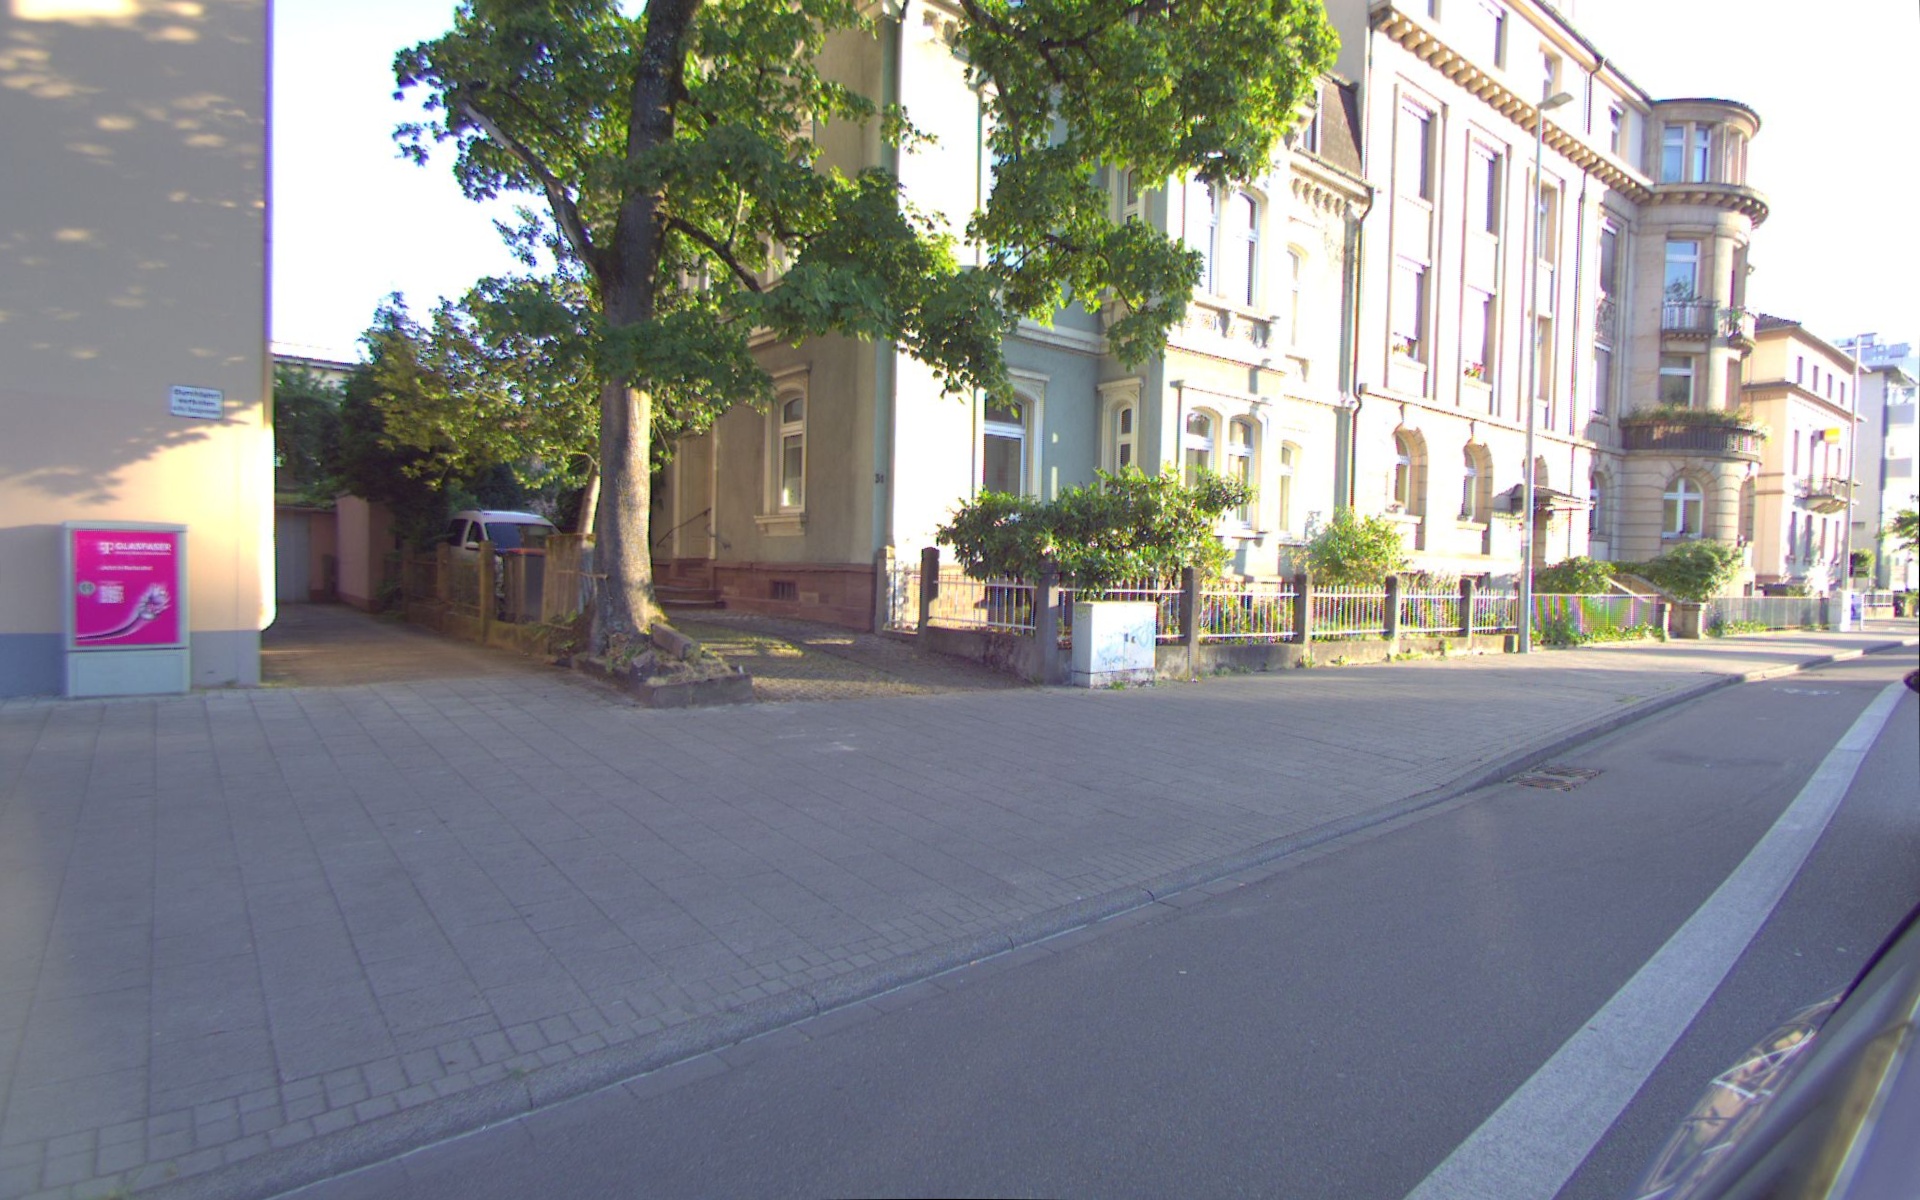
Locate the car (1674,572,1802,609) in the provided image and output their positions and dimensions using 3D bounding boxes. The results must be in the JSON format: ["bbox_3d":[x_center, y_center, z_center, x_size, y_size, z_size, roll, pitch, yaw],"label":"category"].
[{"bbox_3d":[34.030,-0.447,44.341,1.903,1.499,4.098,0,2,-38],"label":"car"}]

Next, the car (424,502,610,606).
[{"bbox_3d":[-8.659,-0.934,19.570,1.795,1.778,4.513,1,3,-44],"label":"car"}]

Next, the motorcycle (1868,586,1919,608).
[{"bbox_3d":[48.285,-0.161,52.353,0.564,1.110,1.851,0,1,-33],"label":"motorcycle"}]
